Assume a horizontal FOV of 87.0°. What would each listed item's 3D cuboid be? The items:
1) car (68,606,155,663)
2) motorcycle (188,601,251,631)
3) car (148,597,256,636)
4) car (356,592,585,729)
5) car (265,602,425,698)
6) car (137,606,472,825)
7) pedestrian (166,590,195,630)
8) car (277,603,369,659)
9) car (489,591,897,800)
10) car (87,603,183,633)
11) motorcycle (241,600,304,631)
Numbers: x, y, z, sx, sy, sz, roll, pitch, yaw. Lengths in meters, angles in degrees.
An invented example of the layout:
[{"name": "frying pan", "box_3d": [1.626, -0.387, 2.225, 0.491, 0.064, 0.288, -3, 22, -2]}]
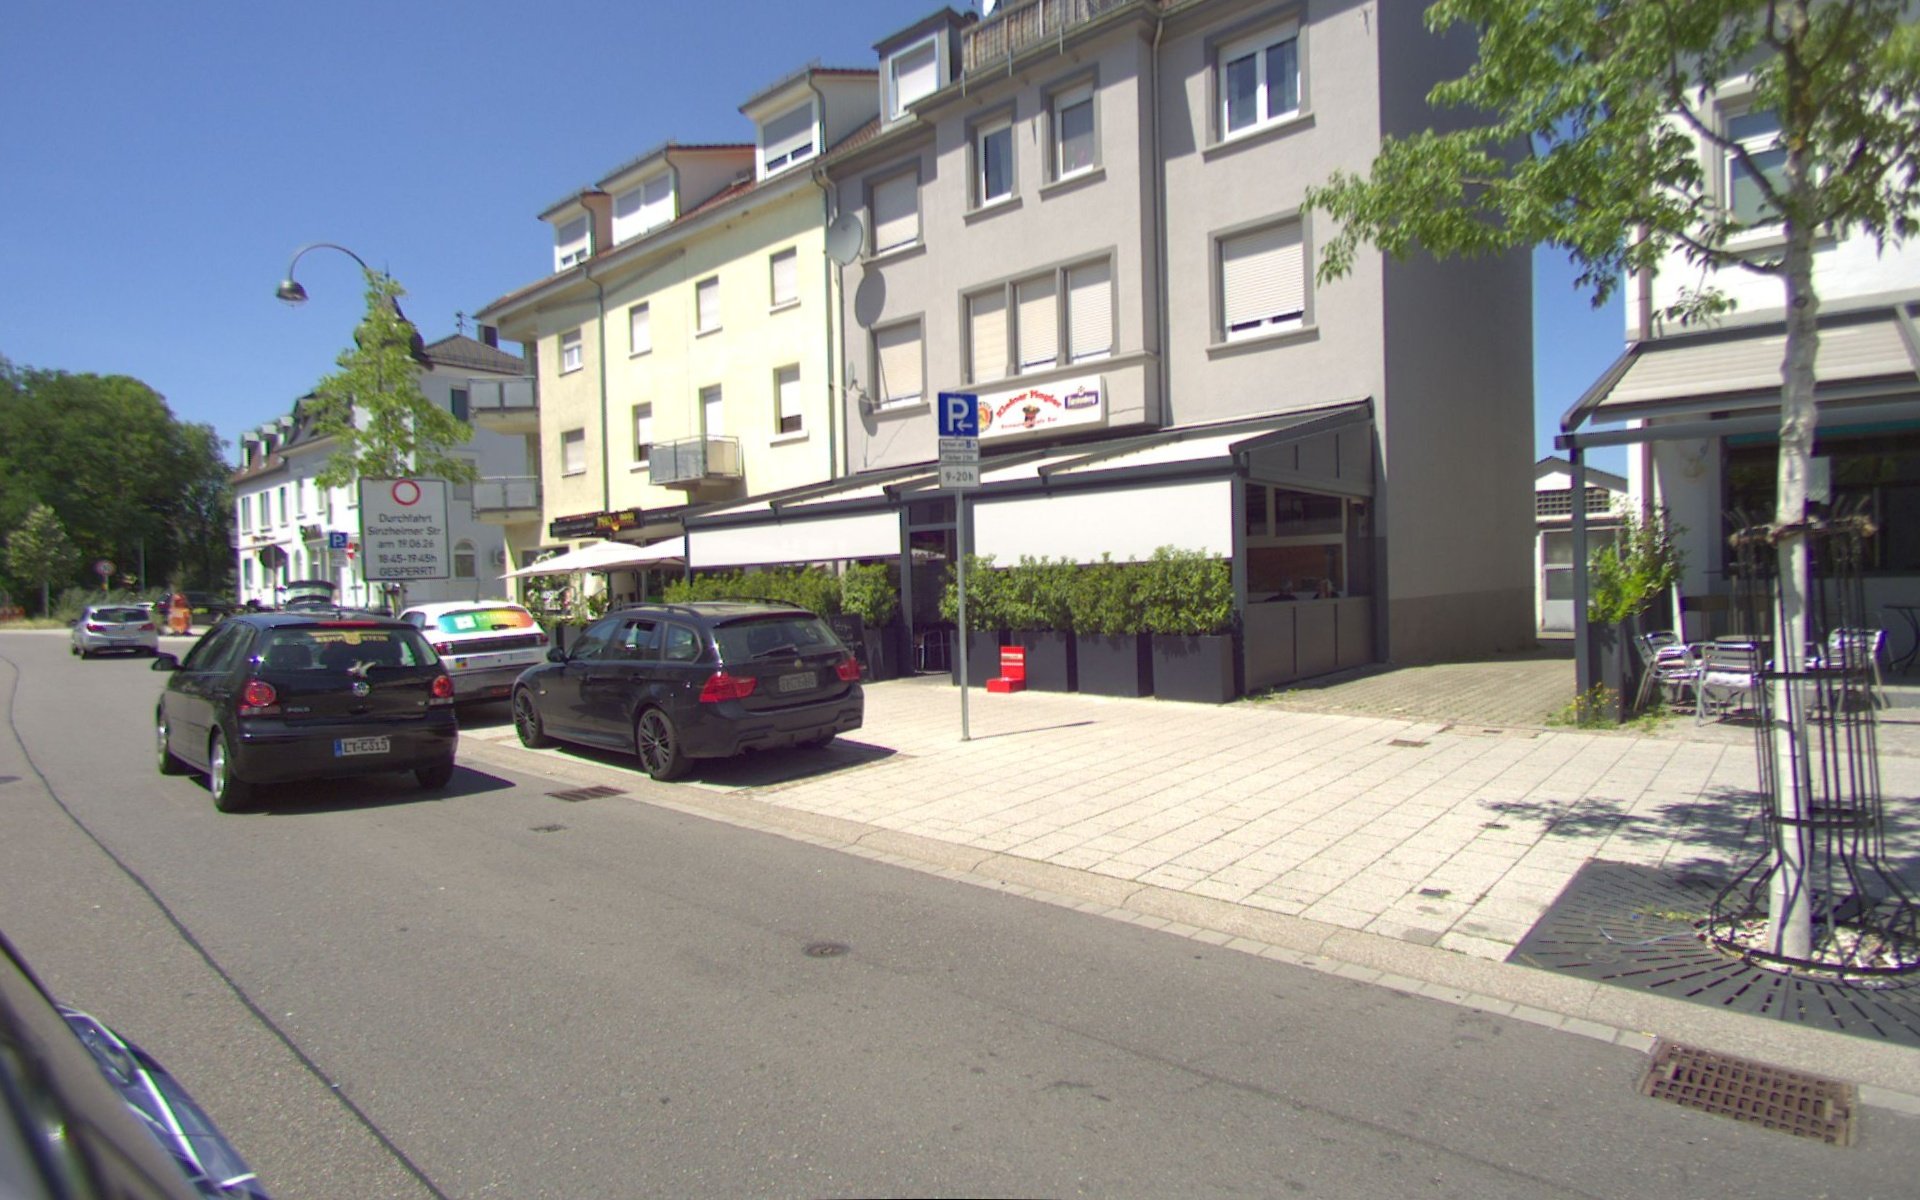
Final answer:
[{"name": "car", "box_3d": [-24.614, 0.945, 29.318, 1.661, 1.495, 4.089, -1, 0, -44]}, {"name": "motorcycle", "box_3d": [-34.941, 0.743, 47.769, 0.726, 1.335, 2.291, -1, 0, 44]}, {"name": "car", "box_3d": [-36.728, 0.768, 49.107, 4.021, 1.752, 1.816, -1, 0, -43]}, {"name": "car", "box_3d": [-6.622, 0.709, 13.503, 1.661, 1.495, 3.772, -4, 2, -43]}, {"name": "car", "box_3d": [-11.468, 0.840, 18.737, 1.661, 1.495, 4.344, -4, 2, -43]}, {"name": "car", "box_3d": [-5.768, 0.815, 8.715, 3.865, 1.465, 1.598, -1, -2, 44]}, {"name": "pedestrian", "box_3d": [-34.371, 0.437, 44.621, 0.800, 1.779, 0.750, -1, 0, 32]}, {"name": "car", "box_3d": [-17.832, 0.854, 28.257, 1.872, 1.452, 3.783, 0, -1, -37]}, {"name": "car", "box_3d": [-2.735, 0.686, 9.653, 1.734, 1.456, 4.452, -4, 4, -45]}, {"name": "car", "box_3d": [-44.934, 0.936, 55.229, 1.814, 1.548, 3.930, -1, 0, 7]}, {"name": "motorcycle", "box_3d": [-31.722, 0.706, 46.701, 0.726, 1.335, 2.291, -1, 0, 44]}]
